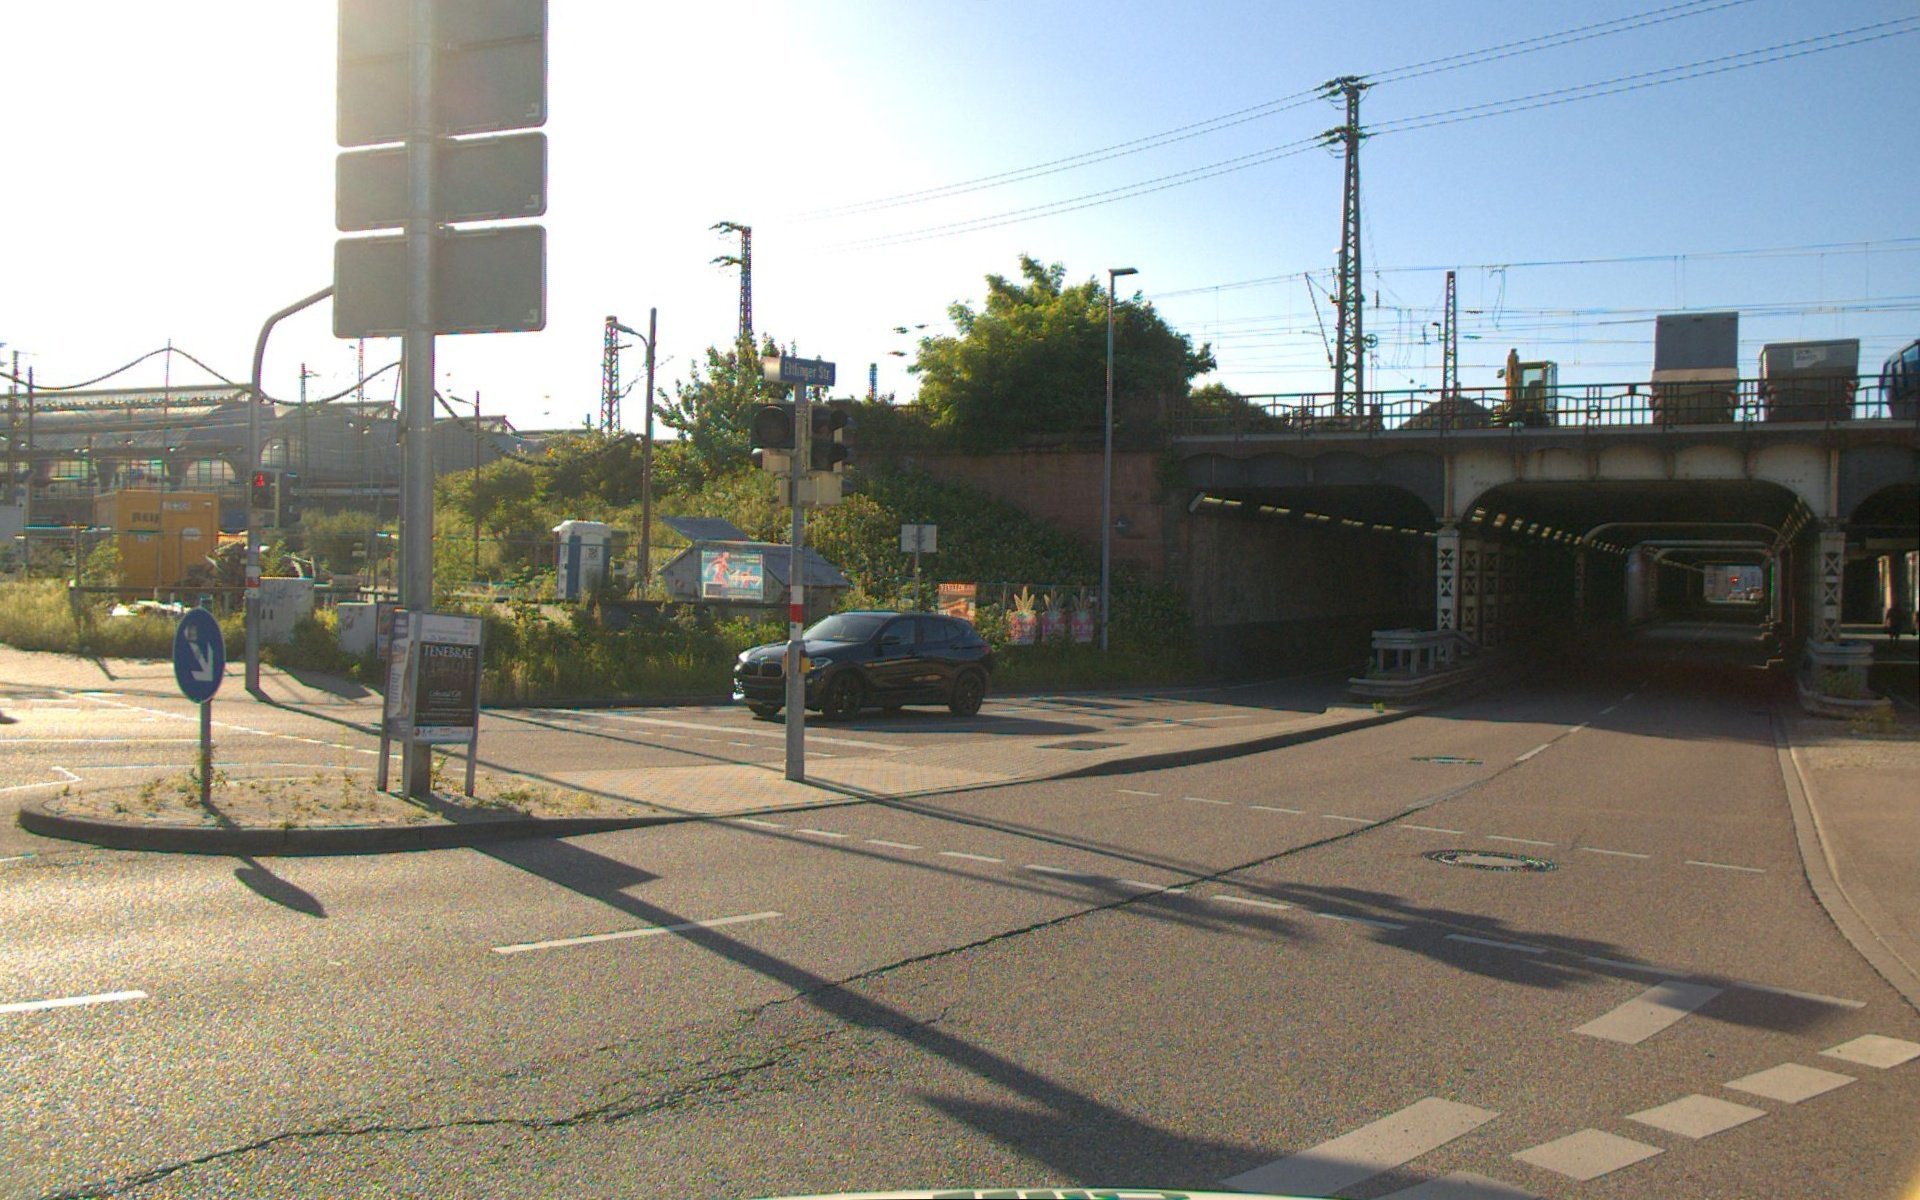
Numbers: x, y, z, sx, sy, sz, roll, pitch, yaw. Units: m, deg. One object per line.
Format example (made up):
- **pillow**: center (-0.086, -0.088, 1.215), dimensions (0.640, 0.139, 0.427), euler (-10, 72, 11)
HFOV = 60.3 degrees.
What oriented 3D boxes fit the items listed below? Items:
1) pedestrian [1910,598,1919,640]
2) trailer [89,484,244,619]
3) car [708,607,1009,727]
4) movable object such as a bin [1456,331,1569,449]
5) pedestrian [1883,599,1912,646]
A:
- **pedestrian**: center (38.942, 0.773, 66.732), dimensions (0.898, 1.685, 0.886), euler (-1, 0, 23)
- **trailer**: center (-22.021, -1.280, 45.716), dimensions (2.968, 3.349, 6.592), euler (2, 0, -33)
- **car**: center (-1.378, 0.930, 24.096), dimensions (1.920, 1.544, 4.364), euler (1, -1, 40)
- **movable object such as a bin**: center (13.907, -5.172, 41.472), dimensions (1.955, 2.265, 4.825), euler (2, 0, 27)
- **pedestrian**: center (38.165, 0.923, 67.333), dimensions (0.862, 1.867, 0.922), euler (-1, 0, 23)
